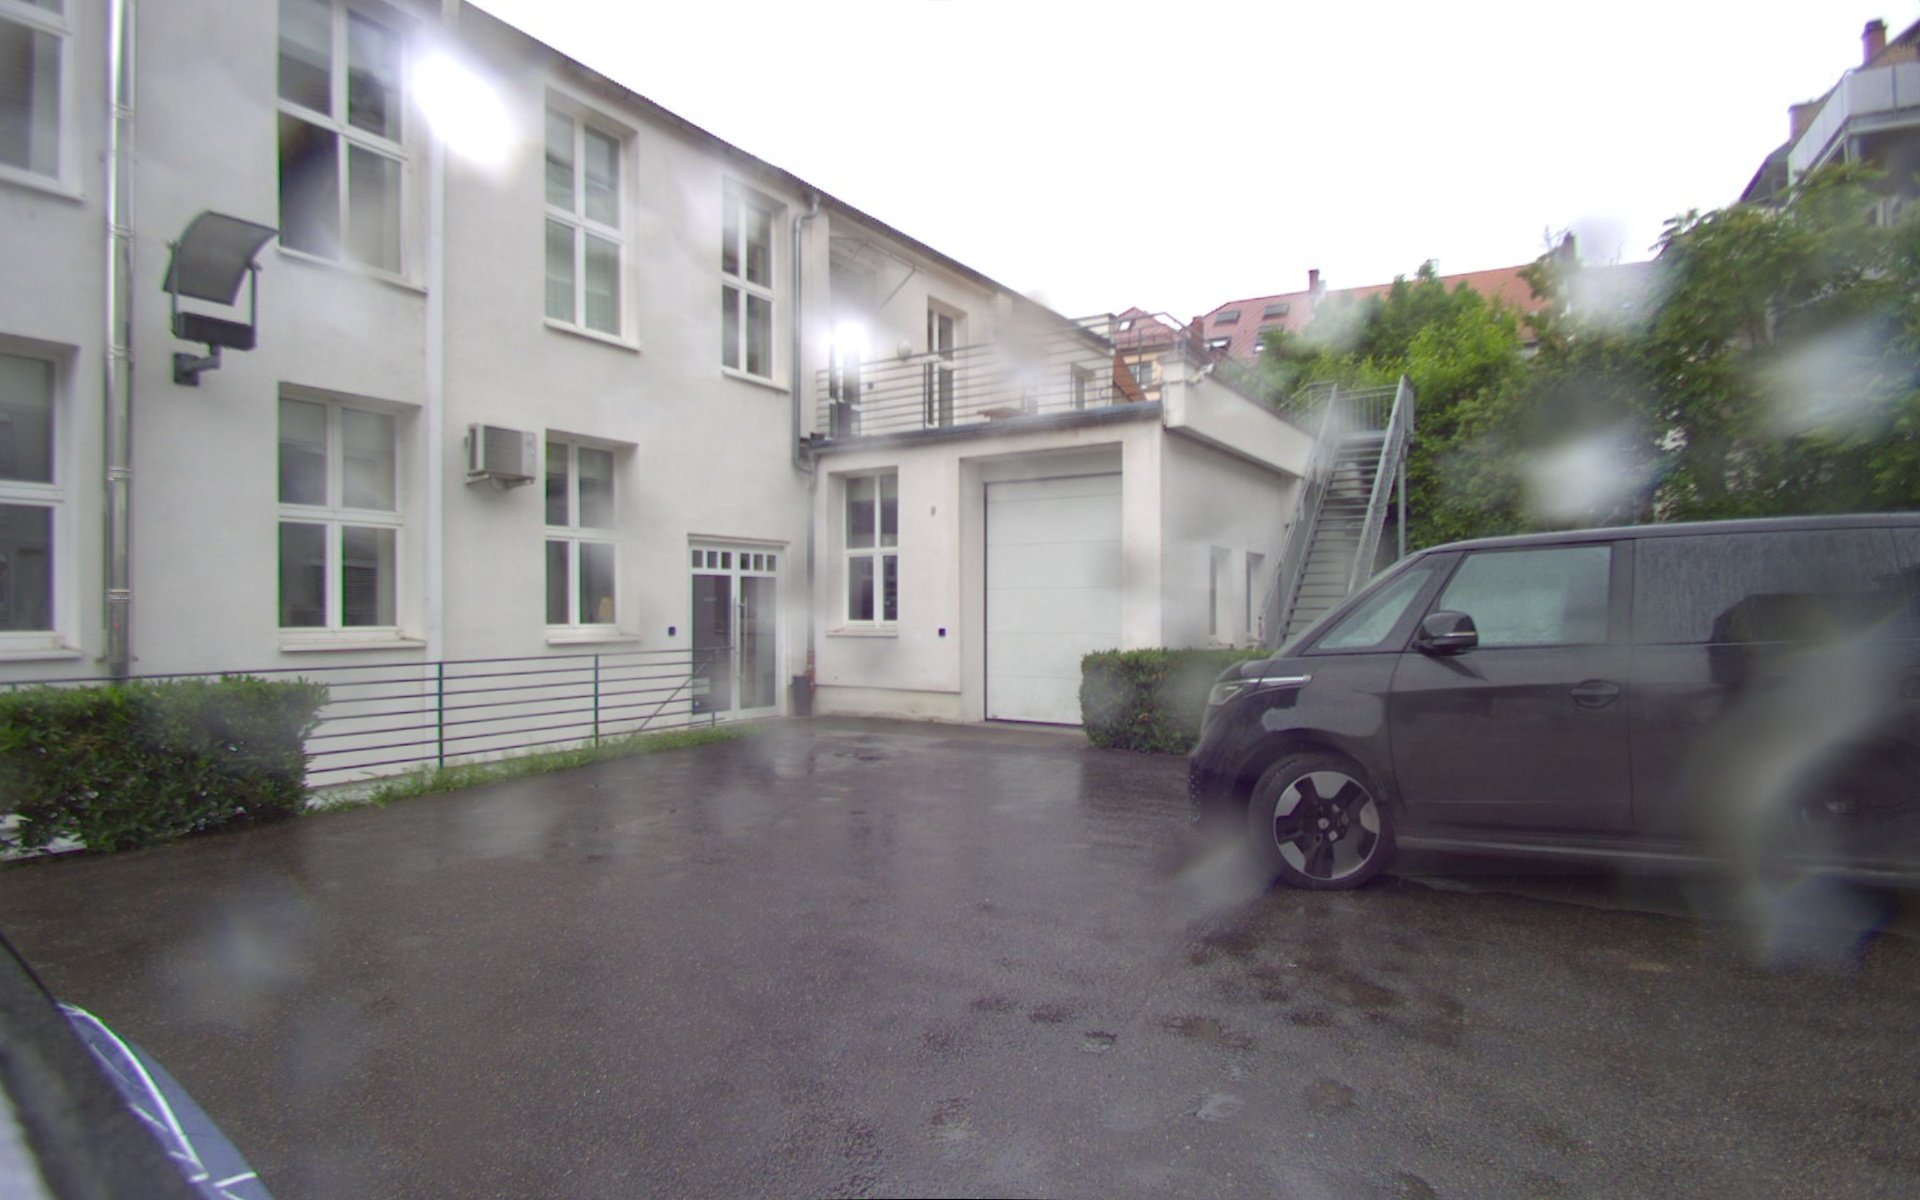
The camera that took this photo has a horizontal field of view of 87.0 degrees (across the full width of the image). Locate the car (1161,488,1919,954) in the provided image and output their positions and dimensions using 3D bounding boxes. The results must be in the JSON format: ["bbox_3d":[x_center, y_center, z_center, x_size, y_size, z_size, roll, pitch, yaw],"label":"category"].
[{"bbox_3d":[3.554,0.535,5.479,4.496,1.912,2.029,-1,-2,25],"label":"car"}]
